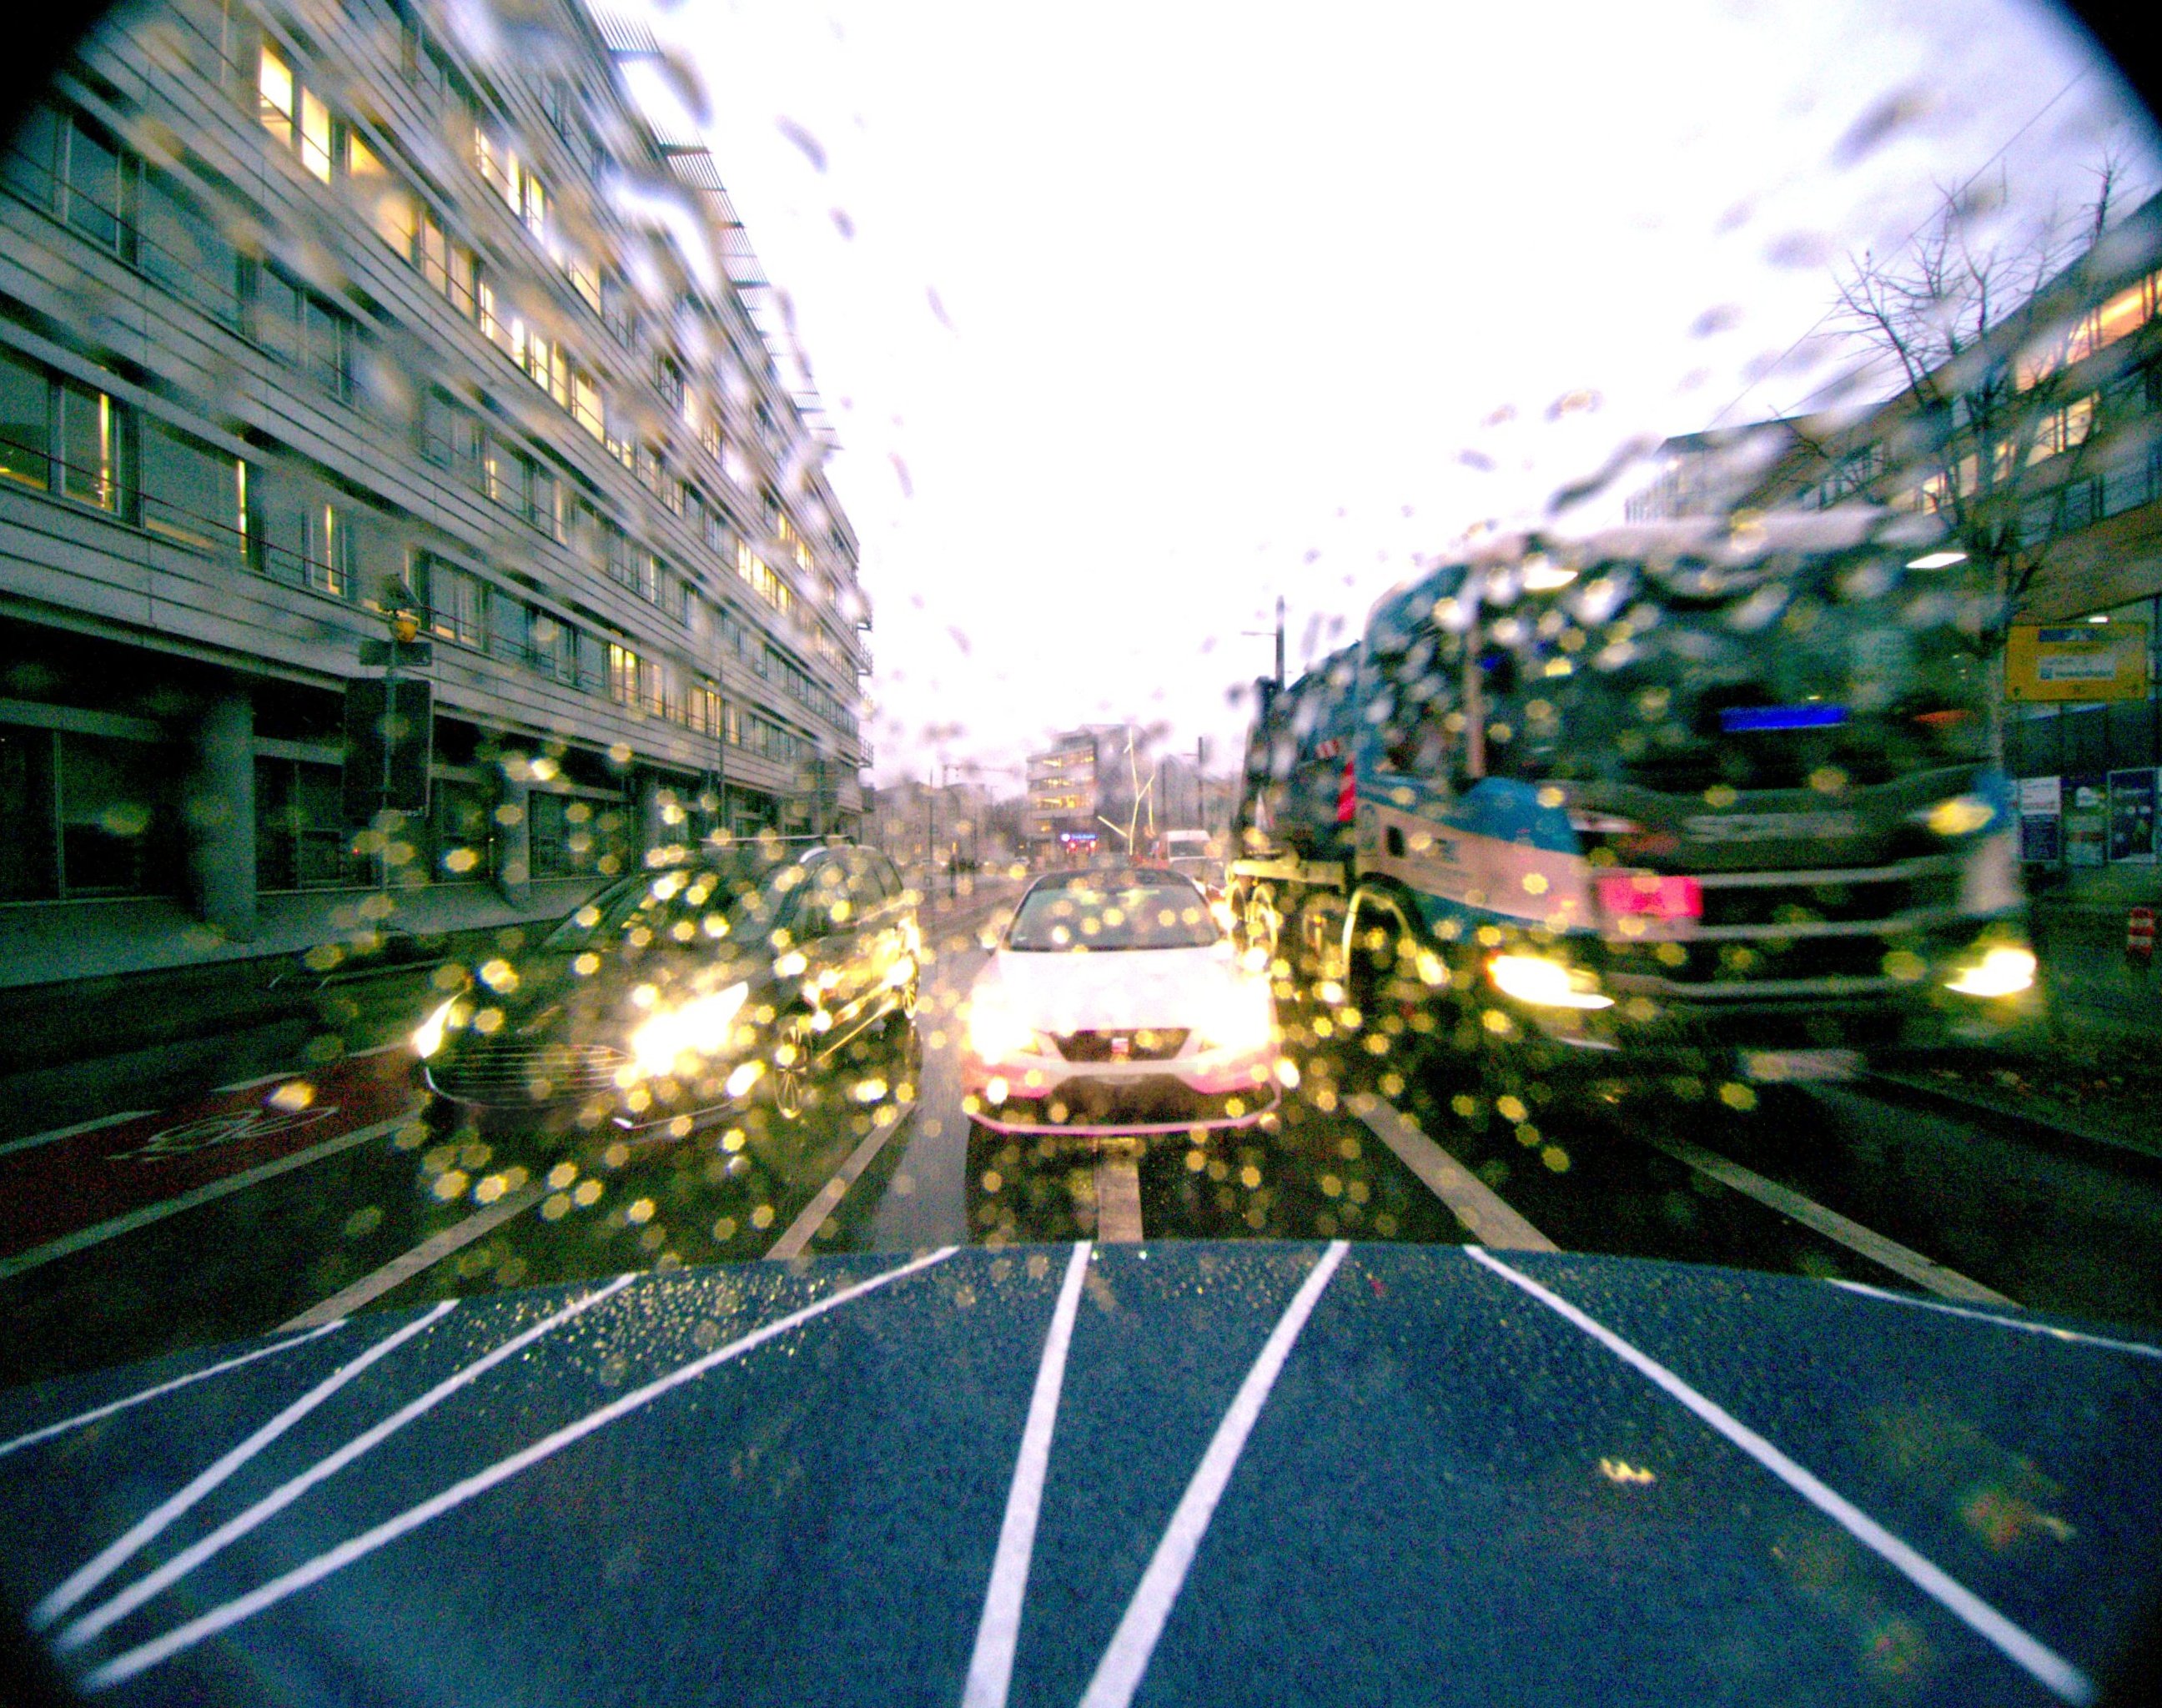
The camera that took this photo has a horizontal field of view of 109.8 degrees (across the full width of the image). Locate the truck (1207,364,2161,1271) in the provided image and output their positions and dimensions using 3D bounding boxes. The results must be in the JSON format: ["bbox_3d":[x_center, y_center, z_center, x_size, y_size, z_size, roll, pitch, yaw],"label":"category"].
[{"bbox_3d":[3.200,-0.155,6.814,2.846,3.612,7.526,-1,0,0],"label":"truck"}]

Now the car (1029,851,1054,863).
[{"bbox_3d":[-6.461,0.511,124.041,3.724,1.796,1.797,-1,0,21],"label":"car"}]

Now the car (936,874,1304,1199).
[{"bbox_3d":[0.218,0.945,5.686,1.782,1.464,3.943,-1,0,1],"label":"car"}]

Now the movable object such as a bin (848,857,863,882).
[{"bbox_3d":[-13.405,0.932,45.218,0.666,1.468,0.840,-1,1,-2],"label":"movable object such as a bin"}]

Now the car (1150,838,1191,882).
[{"bbox_3d":[6.163,0.385,52.732,2.129,2.847,5.813,-1,0,0],"label":"car"}]

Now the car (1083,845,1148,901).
[{"bbox_3d":[1.162,0.623,27.868,2.169,1.744,4.540,0,2,0],"label":"car"}]

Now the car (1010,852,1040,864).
[{"bbox_3d":[-8.120,0.547,109.498,3.918,1.699,1.782,-1,1,15],"label":"car"}]

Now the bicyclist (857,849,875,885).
[{"bbox_3d":[-10.759,0.621,38.049,0.671,1.788,0.806,0,1,-3],"label":"bicyclist"}]

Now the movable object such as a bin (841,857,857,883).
[{"bbox_3d":[-13.246,0.914,43.391,0.666,1.420,0.840,-1,1,-2],"label":"movable object such as a bin"}]

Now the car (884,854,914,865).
[{"bbox_3d":[-27.824,0.845,116.081,3.996,1.663,2.002,-1,1,17],"label":"car"}]

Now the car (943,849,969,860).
[{"bbox_3d":[-21.169,0.125,128.425,3.991,1.759,1.815,-1,0,20],"label":"car"}]

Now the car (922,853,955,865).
[{"bbox_3d":[-21.384,0.792,113.722,4.368,1.750,2.002,-1,1,17],"label":"car"}]

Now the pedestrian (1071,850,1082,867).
[{"bbox_3d":[-0.510,0.556,90.020,1.118,2.002,1.034,0,1,15],"label":"pedestrian"}]

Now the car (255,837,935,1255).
[{"bbox_3d":[-2.606,0.851,5.690,1.887,1.800,4.671,-2,0,2],"label":"car"}]

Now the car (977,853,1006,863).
[{"bbox_3d":[-13.005,0.575,110.691,3.759,1.528,1.782,0,0,17],"label":"car"}]

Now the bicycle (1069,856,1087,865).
[{"bbox_3d":[-0.324,0.808,94.678,2.204,1.182,0.668,0,1,2],"label":"bicycle"}]

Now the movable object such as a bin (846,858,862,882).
[{"bbox_3d":[-13.241,0.927,44.288,0.666,1.420,0.840,-1,1,-2],"label":"movable object such as a bin"}]

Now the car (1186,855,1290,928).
[{"bbox_3d":[3.547,0.790,17.801,1.634,1.514,3.942,-1,0,0],"label":"car"}]

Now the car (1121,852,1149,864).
[{"bbox_3d":[8.384,0.630,118.470,3.990,1.782,1.885,0,1,26],"label":"car"}]

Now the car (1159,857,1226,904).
[{"bbox_3d":[3.517,0.801,24.547,1.759,1.337,4.057,-1,0,3],"label":"car"}]

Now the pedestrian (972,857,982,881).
[{"bbox_3d":[-7.229,1.037,52.856,0.616,1.659,0.884,1,1,-3],"label":"pedestrian"}]

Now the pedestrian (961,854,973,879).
[{"bbox_3d":[-7.925,0.842,52.827,0.651,1.692,0.884,1,1,-3],"label":"pedestrian"}]

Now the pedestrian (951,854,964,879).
[{"bbox_3d":[-8.692,0.860,53.534,0.747,1.692,0.969,2,1,-3],"label":"pedestrian"}]

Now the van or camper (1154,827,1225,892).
[{"bbox_3d":[4.528,0.219,32.675,2.153,2.517,5.898,-1,0,0],"label":"van or camper"}]

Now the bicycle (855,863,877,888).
[{"bbox_3d":[-10.730,1.039,37.997,0.681,1.191,1.760,-1,0,-3],"label":"bicycle"}]
